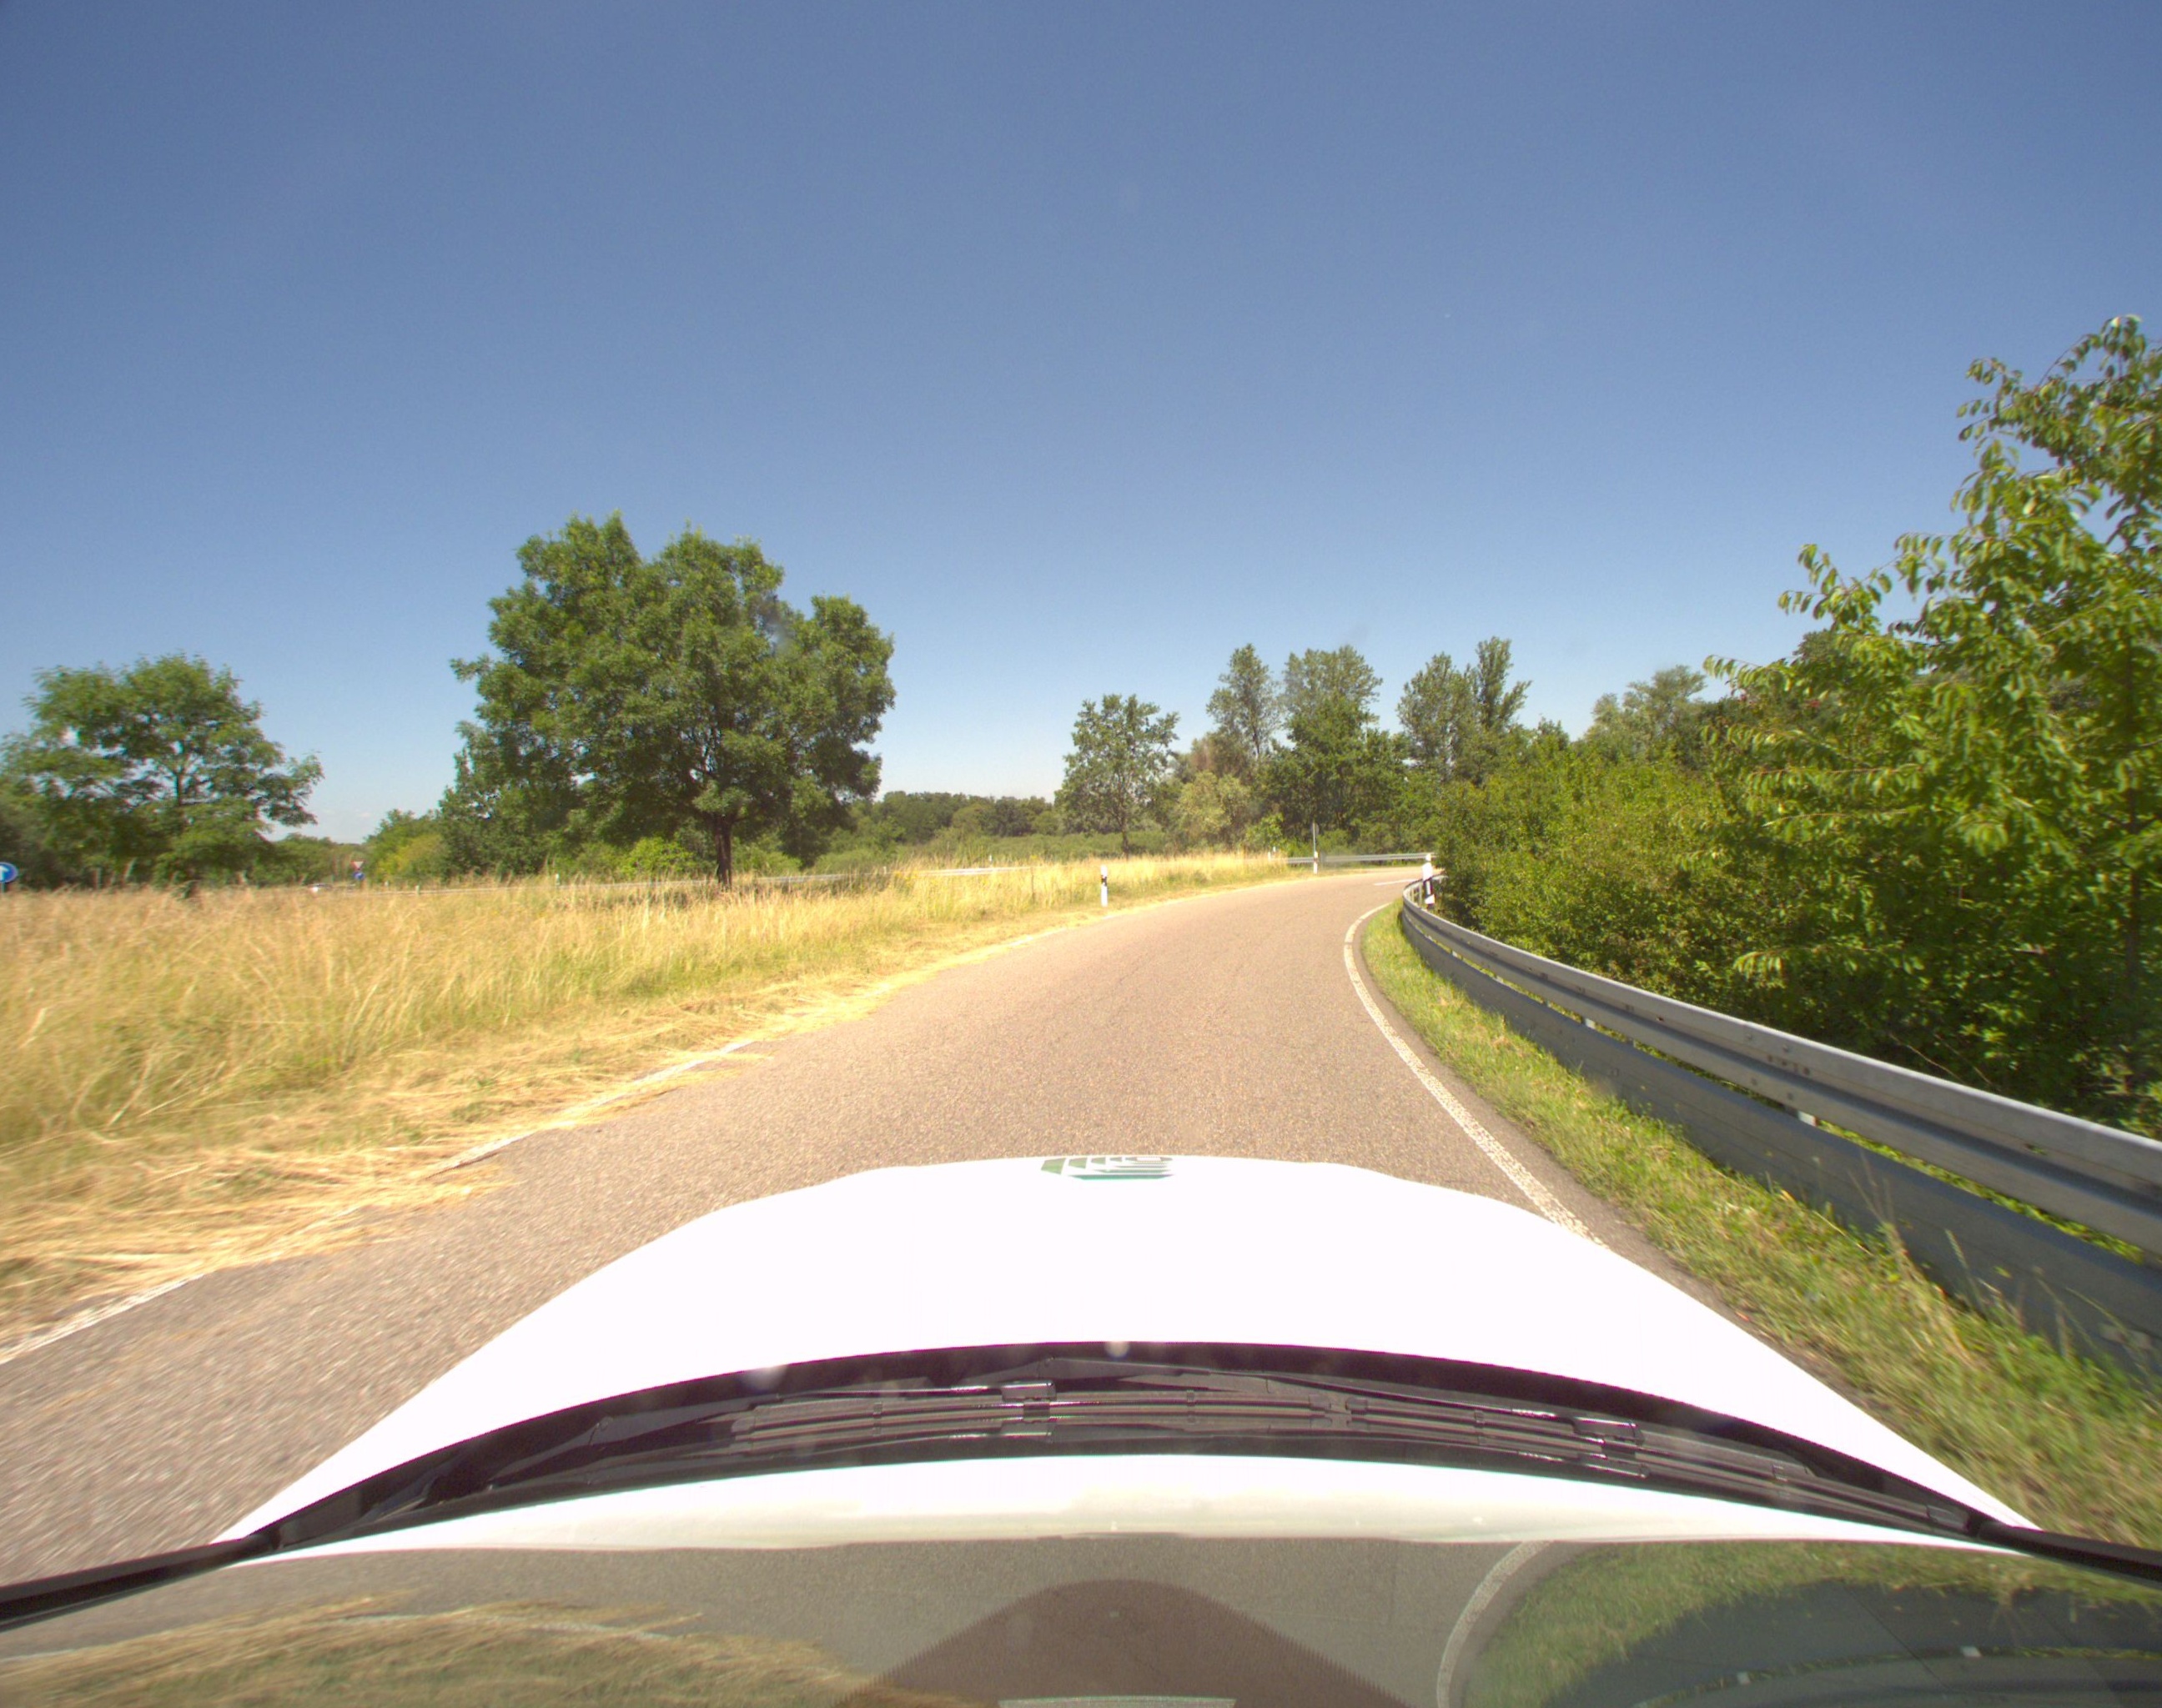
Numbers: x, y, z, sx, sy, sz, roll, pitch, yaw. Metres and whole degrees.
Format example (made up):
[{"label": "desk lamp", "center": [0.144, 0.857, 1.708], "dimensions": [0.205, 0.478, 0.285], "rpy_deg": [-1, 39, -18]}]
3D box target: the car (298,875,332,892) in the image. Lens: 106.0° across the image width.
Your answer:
[{"label": "car", "center": [-79.444, 3.018, 84.524], "dimensions": [2.051, 1.673, 3.956], "rpy_deg": [-2, 0, -36]}]
